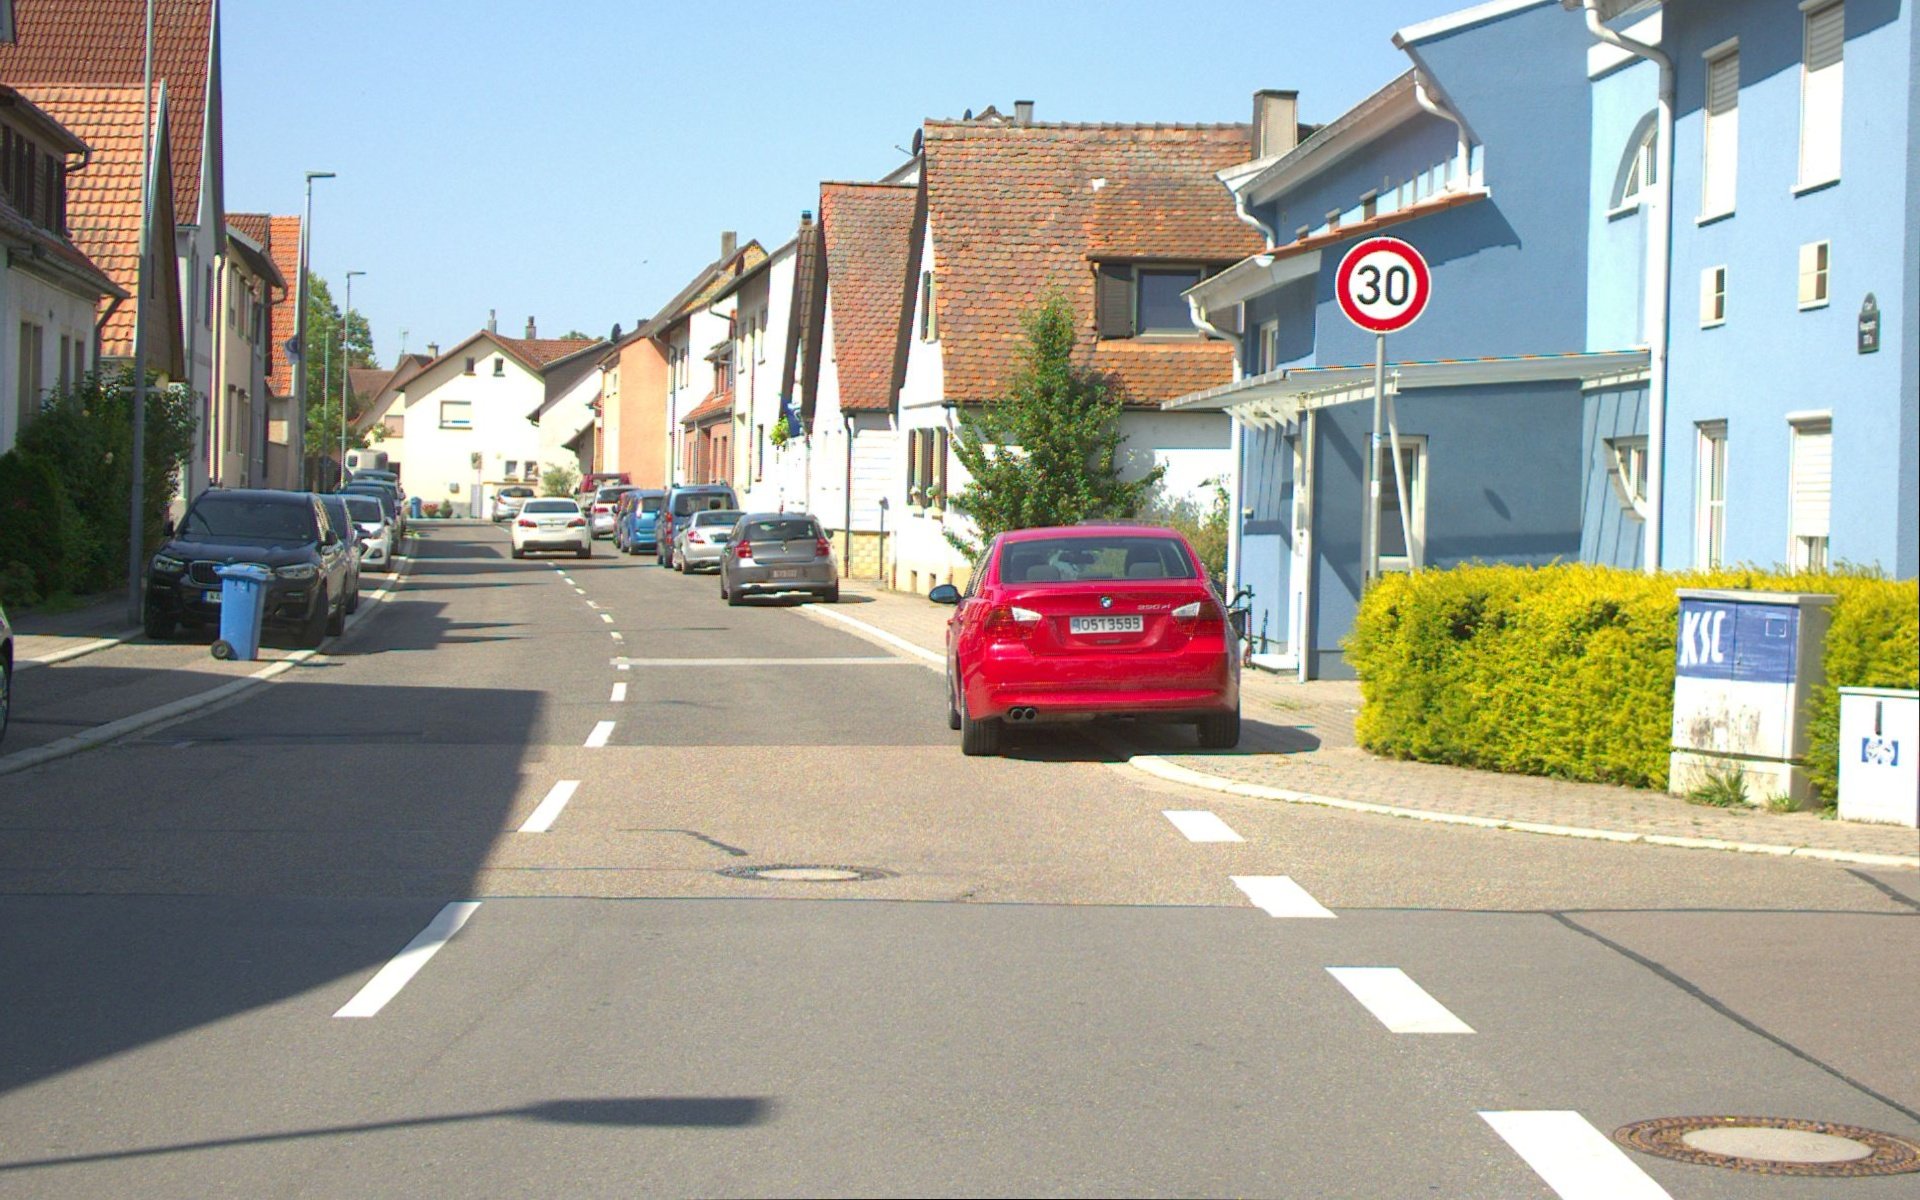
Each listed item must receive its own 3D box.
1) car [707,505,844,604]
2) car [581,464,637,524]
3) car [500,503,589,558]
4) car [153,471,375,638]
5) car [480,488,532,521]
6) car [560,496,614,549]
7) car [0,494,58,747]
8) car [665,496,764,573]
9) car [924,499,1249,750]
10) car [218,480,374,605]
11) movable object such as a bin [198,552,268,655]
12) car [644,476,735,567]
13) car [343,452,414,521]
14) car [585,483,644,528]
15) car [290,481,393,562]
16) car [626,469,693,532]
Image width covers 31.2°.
[{"bbox_3d":[-2.951,-0.743,54.306,1.704,1.428,3.891,2,2,-9],"label":"car"},{"bbox_3d":[-11.969,-3.606,117.212,1.766,1.997,3.451,1,1,-8],"label":"car"},{"bbox_3d":[-10.062,-1.689,83.052,1.993,1.284,4.001,0,1,-9],"label":"car"},{"bbox_3d":[-7.783,-0.540,38.845,1.920,1.662,4.666,3,1,-6],"label":"car"},{"bbox_3d":[-18.233,-3.824,137.913,1.993,1.284,3.805,0,1,-9],"label":"car"},{"bbox_3d":[-11.314,-2.359,104.131,1.420,1.510,3.305,2,1,-9],"label":"car"},{"bbox_3d":[-6.454,0.090,19.719,1.640,1.496,3.782,4,1,-3],"label":"car"},{"bbox_3d":[-5.082,-1.362,70.840,1.704,1.491,3.453,2,2,-9],"label":"car"},{"bbox_3d":[0.737,0.133,22.768,1.732,1.489,4.355,0,0,-3],"label":"car"},{"bbox_3d":[-9.449,-0.852,49.205,1.872,1.631,4.665,2,2,-7],"label":"car"},{"bbox_3d":[-7.165,0.030,33.897,0.596,0.979,0.531,2,1,-6],"label":"movable object such as a bin"},{"bbox_3d":[-5.987,-1.743,75.853,1.649,1.903,3.627,2,1,-9],"label":"car"},{"bbox_3d":[-14.147,-2.764,83.707,1.618,1.572,3.963,2,2,-9],"label":"car"},{"bbox_3d":[-11.303,-3.088,112.325,1.766,1.428,3.451,1,1,-8],"label":"car"},{"bbox_3d":[-12.576,-1.619,70.103,1.805,1.542,4.405,2,2,-7],"label":"car"},{"bbox_3d":[-7.604,-2.517,86.798,1.420,1.510,3.305,2,1,-9],"label":"car"}]
